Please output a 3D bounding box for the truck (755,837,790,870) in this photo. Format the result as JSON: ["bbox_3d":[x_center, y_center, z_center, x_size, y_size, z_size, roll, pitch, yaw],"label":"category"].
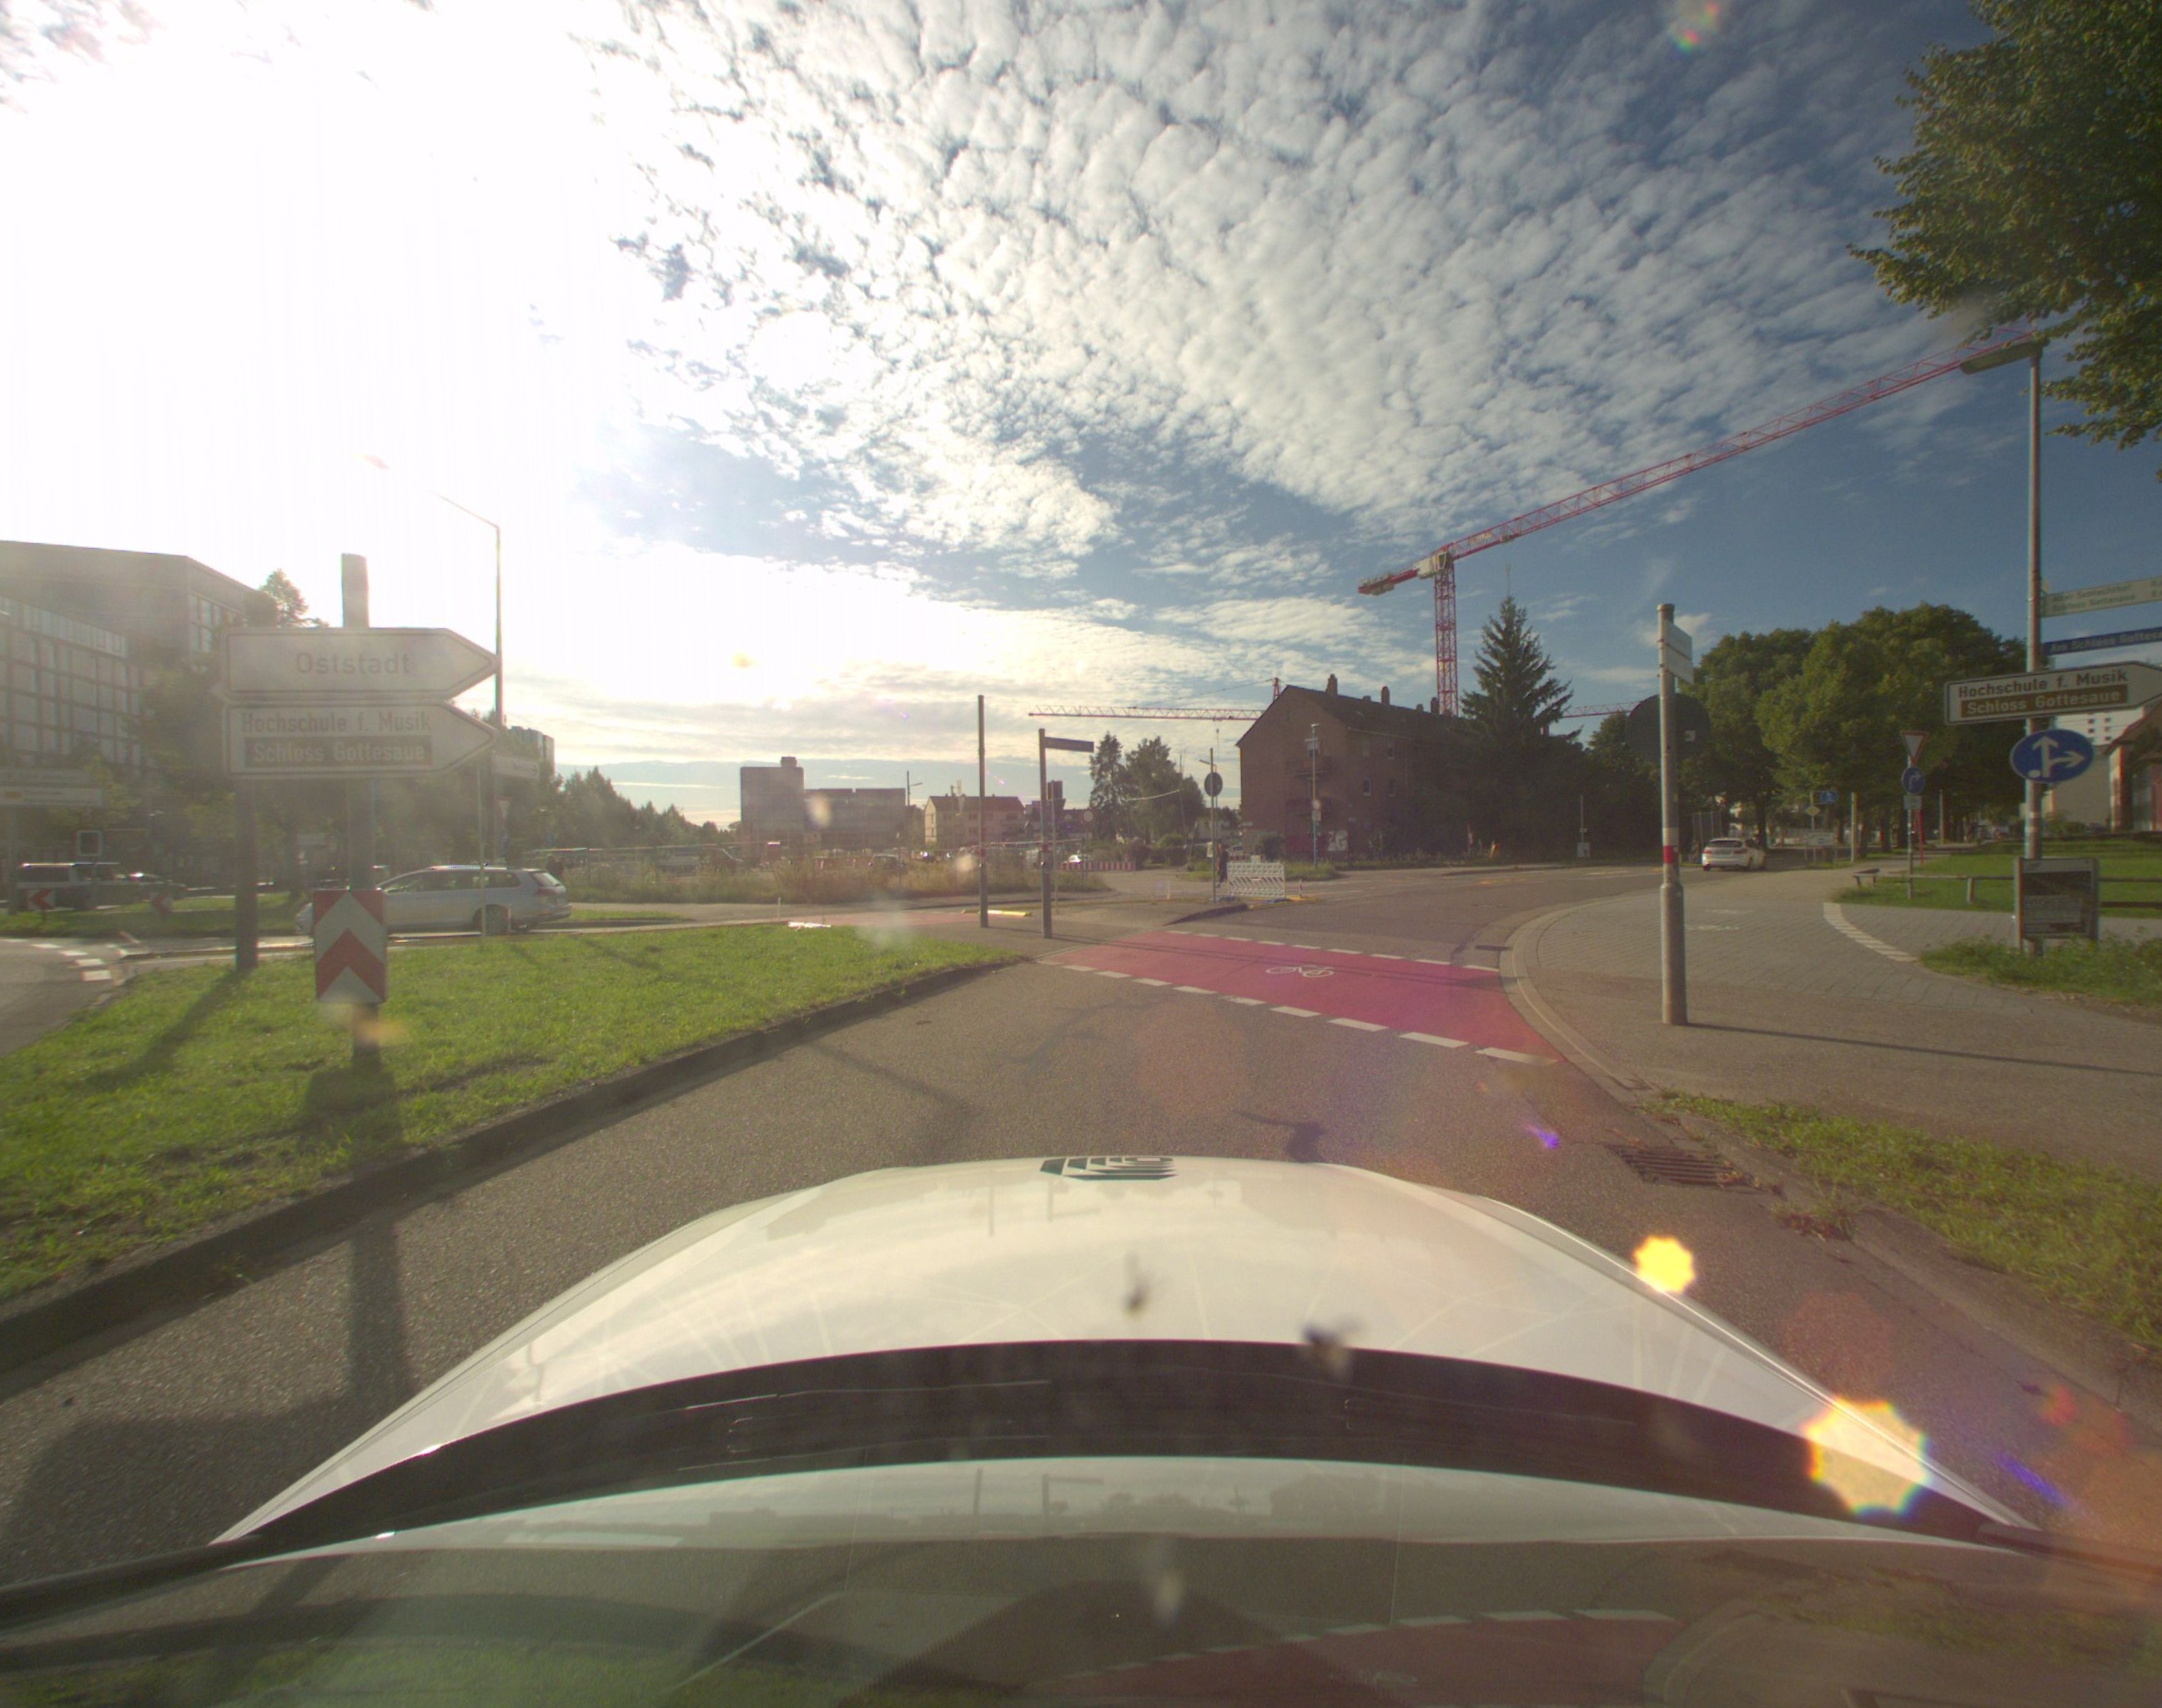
[{"bbox_3d":[-31.663,-0.047,83.418,2.821,3.207,7.255,-1,0,-25],"label":"truck"}]

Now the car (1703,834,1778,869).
[{"bbox_3d":[31.178,-0.163,38.439,4.476,1.572,1.835,-1,1,-39],"label":"car"}]

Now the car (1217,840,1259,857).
[{"bbox_3d":[15.732,-0.548,81.899,3.967,1.618,1.776,-1,0,6],"label":"car"}]

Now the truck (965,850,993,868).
[{"bbox_3d":[-12.793,0.618,101.485,1.983,2.171,5.363,-1,0,-24],"label":"truck"}]

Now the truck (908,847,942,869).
[{"bbox_3d":[-17.296,0.451,89.984,2.297,2.328,5.592,-1,0,-25],"label":"truck"}]

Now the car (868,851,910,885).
[{"bbox_3d":[-10.761,0.754,45.832,1.878,1.816,3.989,-1,0,-8],"label":"car"}]

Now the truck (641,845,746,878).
[{"bbox_3d":[-32.911,0.614,69.536,7.866,2.567,3.052,-1,0,-22],"label":"truck"}]

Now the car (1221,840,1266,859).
[{"bbox_3d":[15.167,-0.424,76.050,3.956,1.618,1.781,-1,0,16],"label":"car"}]

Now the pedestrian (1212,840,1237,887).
[{"bbox_3d":[5.697,0.370,32.411,0.660,1.870,0.841,-1,0,34],"label":"pedestrian"}]

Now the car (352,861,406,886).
[{"bbox_3d":[-56.747,1.557,65.936,1.903,1.903,4.627,-1,0,-22],"label":"car"}]

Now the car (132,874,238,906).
[{"bbox_3d":[-48.431,1.890,44.175,1.902,1.431,4.630,0,1,-20],"label":"car"}]

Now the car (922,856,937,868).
[{"bbox_3d":[-23.925,1.198,128.590,1.997,1.860,3.979,-1,0,-15],"label":"car"}]

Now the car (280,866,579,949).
[{"bbox_3d":[-13.464,1.055,17.196,4.539,1.452,1.813,-1,0,-18],"label":"car"}]

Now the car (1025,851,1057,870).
[{"bbox_3d":[-4.101,0.639,82.404,1.888,1.816,3.968,-1,0,-24],"label":"car"}]

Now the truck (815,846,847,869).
[{"bbox_3d":[-26.508,0.397,86.140,2.339,2.328,6.399,-1,0,-25],"label":"truck"}]

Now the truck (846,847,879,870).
[{"bbox_3d":[-23.558,0.459,87.762,2.339,2.328,6.399,-1,0,-25],"label":"truck"}]

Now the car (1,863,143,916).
[{"bbox_3d":[-41.686,1.394,33.825,1.906,1.903,4.621,-1,1,-26],"label":"car"}]

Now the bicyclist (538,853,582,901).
[{"bbox_3d":[-16.891,0.742,26.394,0.998,1.511,0.709,-1,0,23],"label":"bicyclist"}]

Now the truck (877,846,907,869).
[{"bbox_3d":[-20.713,0.379,88.975,2.067,2.328,5.592,-1,0,-25],"label":"truck"}]
